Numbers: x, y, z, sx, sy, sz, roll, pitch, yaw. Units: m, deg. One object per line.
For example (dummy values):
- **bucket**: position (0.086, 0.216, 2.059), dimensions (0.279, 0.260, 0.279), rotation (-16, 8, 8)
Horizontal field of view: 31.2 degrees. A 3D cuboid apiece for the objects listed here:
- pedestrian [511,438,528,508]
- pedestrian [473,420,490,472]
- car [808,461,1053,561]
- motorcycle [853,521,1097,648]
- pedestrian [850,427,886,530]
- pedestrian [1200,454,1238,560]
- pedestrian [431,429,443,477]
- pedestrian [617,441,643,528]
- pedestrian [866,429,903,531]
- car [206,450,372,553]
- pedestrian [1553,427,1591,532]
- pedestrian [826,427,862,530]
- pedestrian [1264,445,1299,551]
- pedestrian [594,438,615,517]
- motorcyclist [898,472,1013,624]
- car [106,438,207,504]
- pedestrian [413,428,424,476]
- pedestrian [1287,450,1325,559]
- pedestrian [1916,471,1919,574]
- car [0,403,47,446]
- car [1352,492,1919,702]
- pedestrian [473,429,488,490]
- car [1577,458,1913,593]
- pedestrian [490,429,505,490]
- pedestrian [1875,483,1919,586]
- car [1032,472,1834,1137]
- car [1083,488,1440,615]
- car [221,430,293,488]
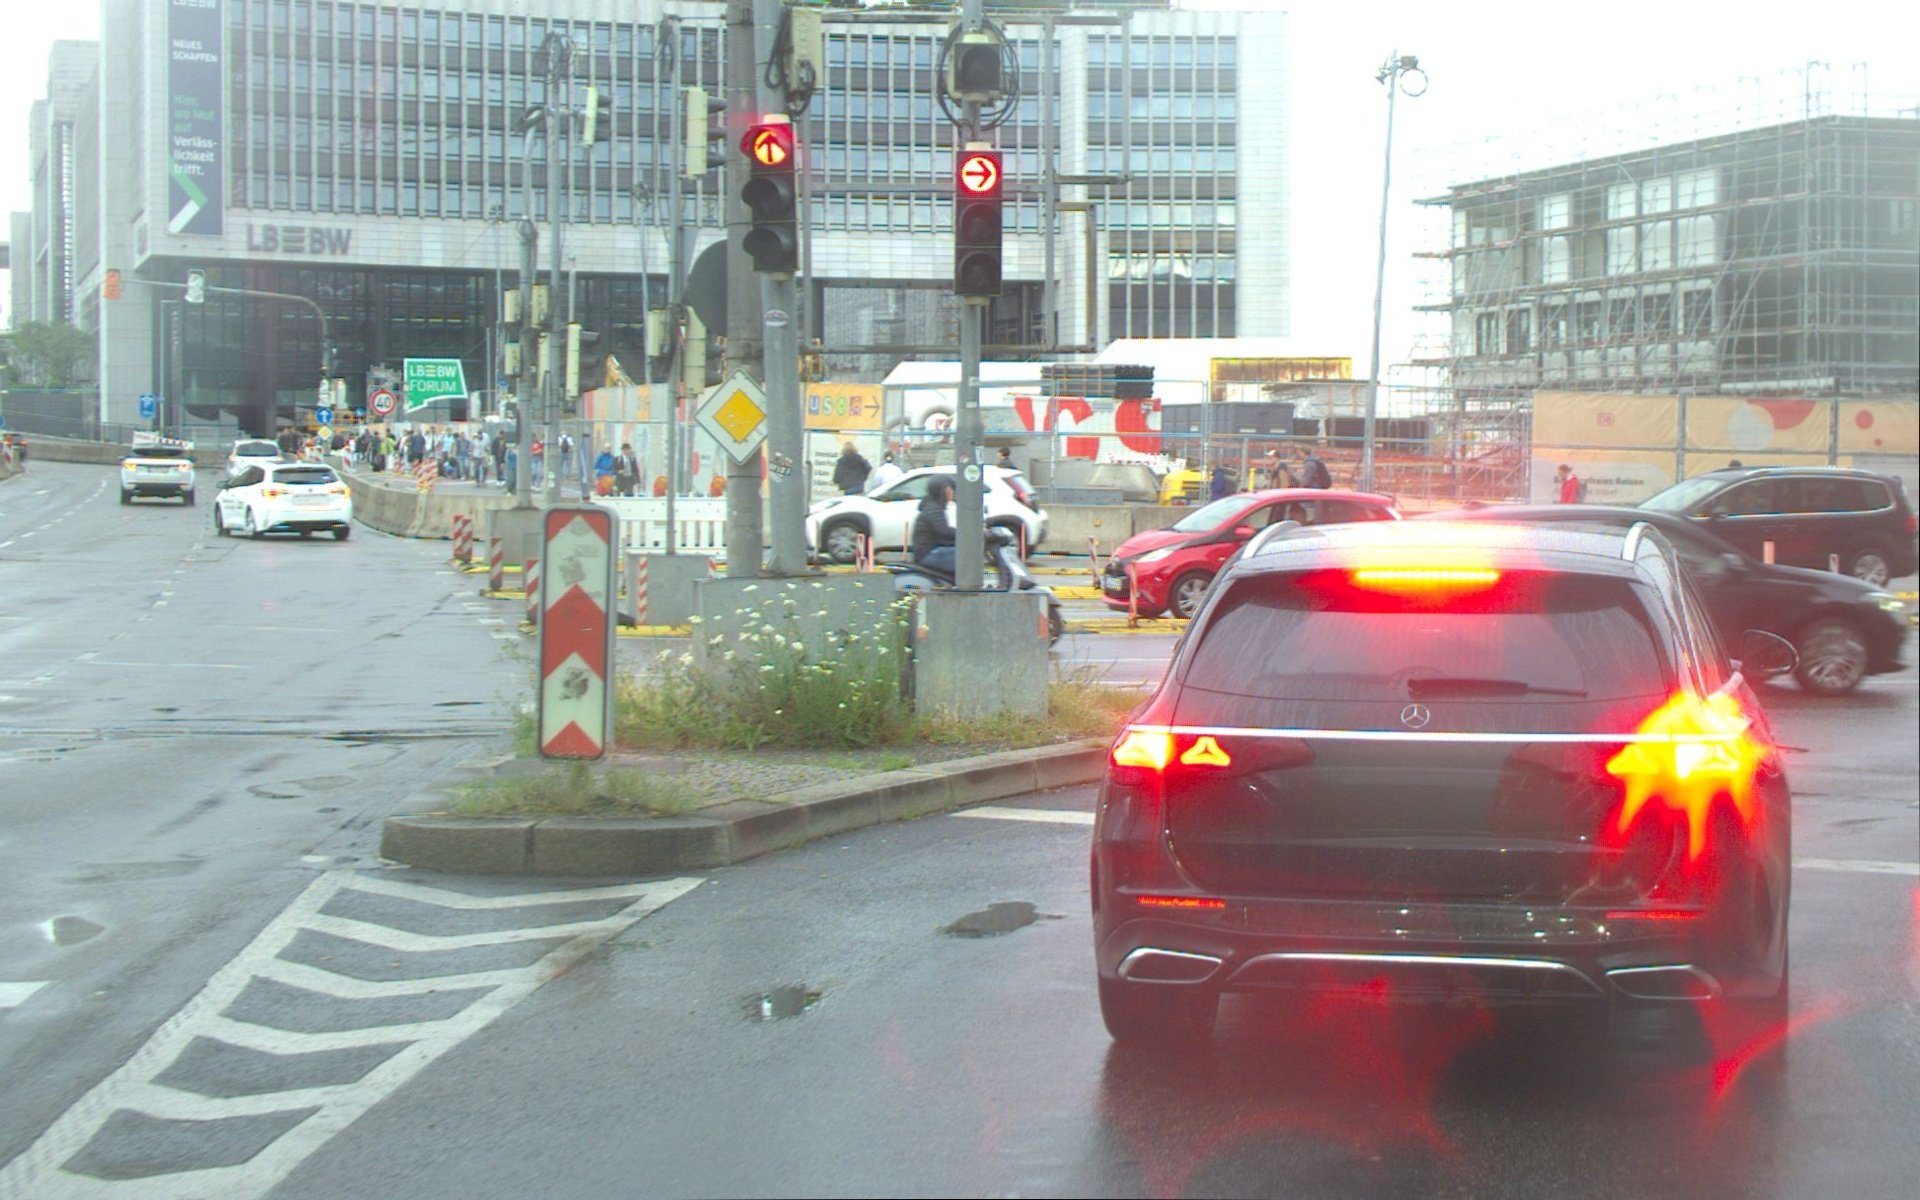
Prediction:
- **pedestrian**: position (-12.064, -3.477, 94.229), dimensions (0.361, 1.891, 0.577), rotation (1, 1, -15)
- **pedestrian**: position (-17.695, -5.709, 127.244), dimensions (0.519, 1.891, 0.577), rotation (1, 1, -15)
- **car**: position (-0.433, -1.368, 53.218), dimensions (3.548, 1.468, 1.786), rotation (1, 1, 8)
- **motorcycle**: position (0.151, -0.149, 31.418), dimensions (2.136, 1.104, 0.851), rotation (1, 1, 6)
- **pedestrian**: position (-1.706, -2.238, 63.634), dimensions (0.576, 1.891, 0.361), rotation (1, 1, 44)
- **pedestrian**: position (4.670, -1.671, 61.959), dimensions (0.575, 1.891, 0.362), rotation (1, 1, 16)
- **pedestrian**: position (-20.870, -5.884, 137.195), dimensions (0.361, 1.891, 0.577), rotation (1, 1, -15)
- **pedestrian**: position (-7.221, -2.522, 75.224), dimensions (0.361, 1.891, 0.576), rotation (1, 1, -23)
- **pedestrian**: position (-1.412, -2.226, 63.899), dimensions (0.361, 1.891, 0.576), rotation (1, 1, -42)
- **car**: position (-12.260, -1.777, 62.607), dimensions (1.993, 1.760, 4.420), rotation (1, 1, -24)
- **pedestrian**: position (11.097, -2.184, 62.375), dimensions (0.574, 1.891, 0.362), rotation (1, 1, -2)
- **pedestrian**: position (-2.139, -2.235, 63.469), dimensions (0.361, 1.891, 0.576), rotation (1, 1, -40)
- **pedestrian**: position (5.767, -1.833, 61.686), dimensions (0.574, 1.891, 0.362), rotation (1, 1, 2)
- **pedestrian**: position (-8.622, -2.973, 83.422), dimensions (0.361, 1.891, 0.577), rotation (1, 1, -19)
- **motorcyclist**: position (-0.033, -0.472, 31.437), dimensions (0.945, 1.353, 0.849), rotation (1, 1, 6)
- **car**: position (-21.250, -3.378, 90.846), dimensions (1.993, 1.634, 4.001), rotation (1, 1, -22)
- **pedestrian**: position (-21.575, -5.894, 137.013), dimensions (0.361, 1.891, 0.577), rotation (1, 1, -15)
- **pedestrian**: position (6.086, -1.676, 60.514), dimensions (0.574, 1.891, 0.362), rotation (1, 1, -5)
- **pedestrian**: position (17.933, -1.420, 63.181), dimensions (0.574, 1.891, 0.362), rotation (1, 1, -8)
- **car**: position (-47.151, -8.687, 170.676), dimensions (1.994, 2.007, 3.999), rotation (1, 1, -40)
- **car**: position (5.249, -0.034, 26.880), dimensions (4.099, 1.501, 2.000), rotation (1, 1, 0)
- **pedestrian**: position (-15.001, -4.393, 107.651), dimensions (0.361, 1.891, 0.577), rotation (1, 1, -15)
- **car**: position (10.741, -1.009, 47.135), dimensions (3.986, 1.728, 2.001), rotation (1, 1, -13)
- **pedestrian**: position (-14.503, -4.387, 107.770), dimensions (0.361, 1.891, 0.577), rotation (1, 1, -15)
- **pedestrian**: position (17.469, -1.217, 63.902), dimensions (0.655, 1.895, 0.632), rotation (1, 1, -11)
- **car**: position (1.537, 0.457, 10.242), dimensions (1.892, 1.538, 3.991), rotation (1, 1, 12)
- **car**: position (3.301, -0.532, 37.886), dimensions (3.532, 1.300, 1.666), rotation (1, 1, -16)
- **car**: position (-22.003, -4.430, 107.573), dimensions (1.727, 1.634, 3.436), rotation (1, 4, -19)
